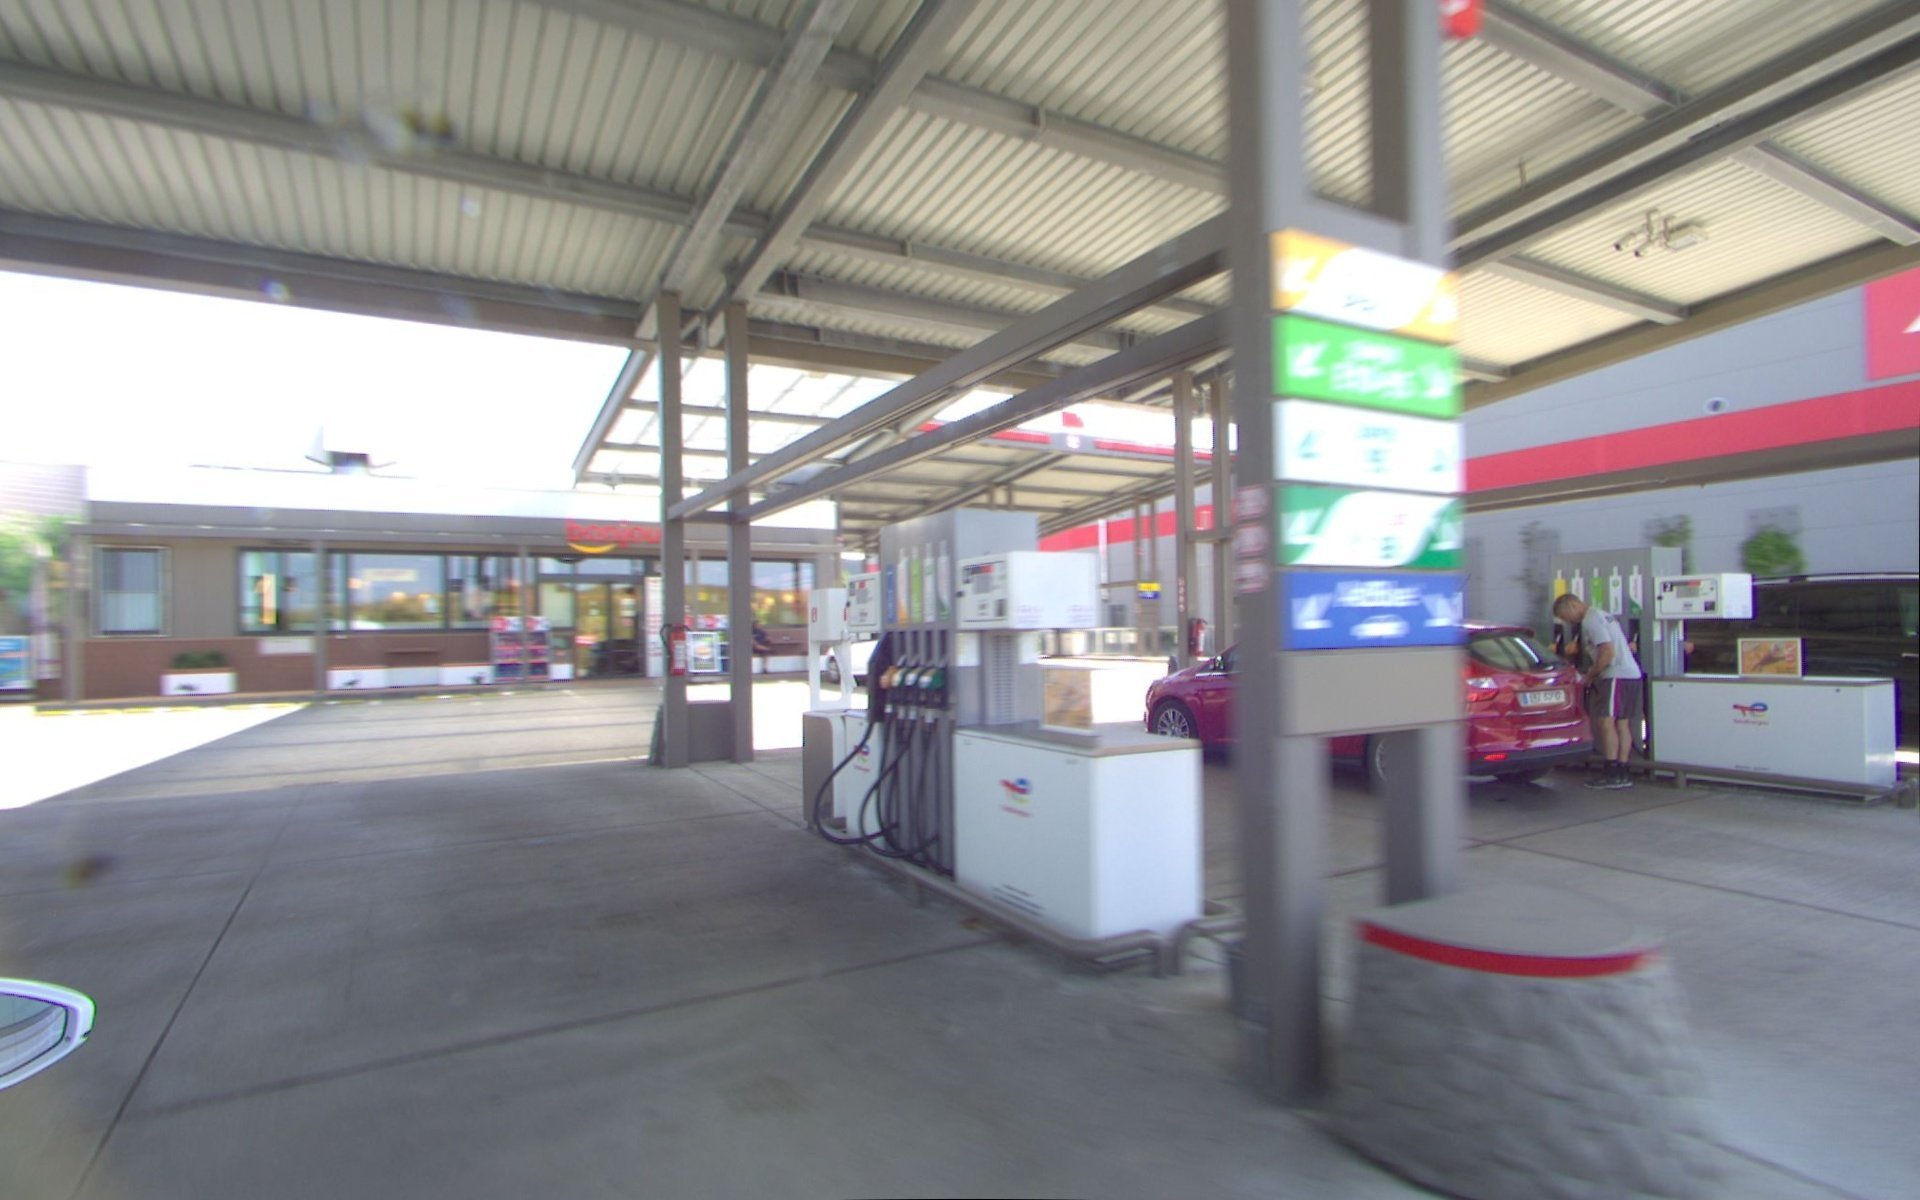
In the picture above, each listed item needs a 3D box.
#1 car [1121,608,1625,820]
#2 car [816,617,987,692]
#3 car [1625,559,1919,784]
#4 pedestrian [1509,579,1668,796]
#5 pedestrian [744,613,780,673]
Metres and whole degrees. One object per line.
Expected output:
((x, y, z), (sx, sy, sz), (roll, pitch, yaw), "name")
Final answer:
((3.496, 0.859, 9.330), (1.679, 1.488, 4.212), (0, -1, -29), "car")
((-1.400, 1.149, 22.202), (1.813, 1.476, 4.292), (0, -1, -35), "car")
((8.897, 0.586, 8.756), (2.004, 1.875, 4.774), (-1, 0, -29), "car")
((5.355, 0.707, 8.561), (0.693, 1.725, 0.924), (-1, 0, -28), "pedestrian")
((-4.941, 1.059, 24.995), (0.693, 1.451, 0.669), (-1, 0, -31), "pedestrian")
